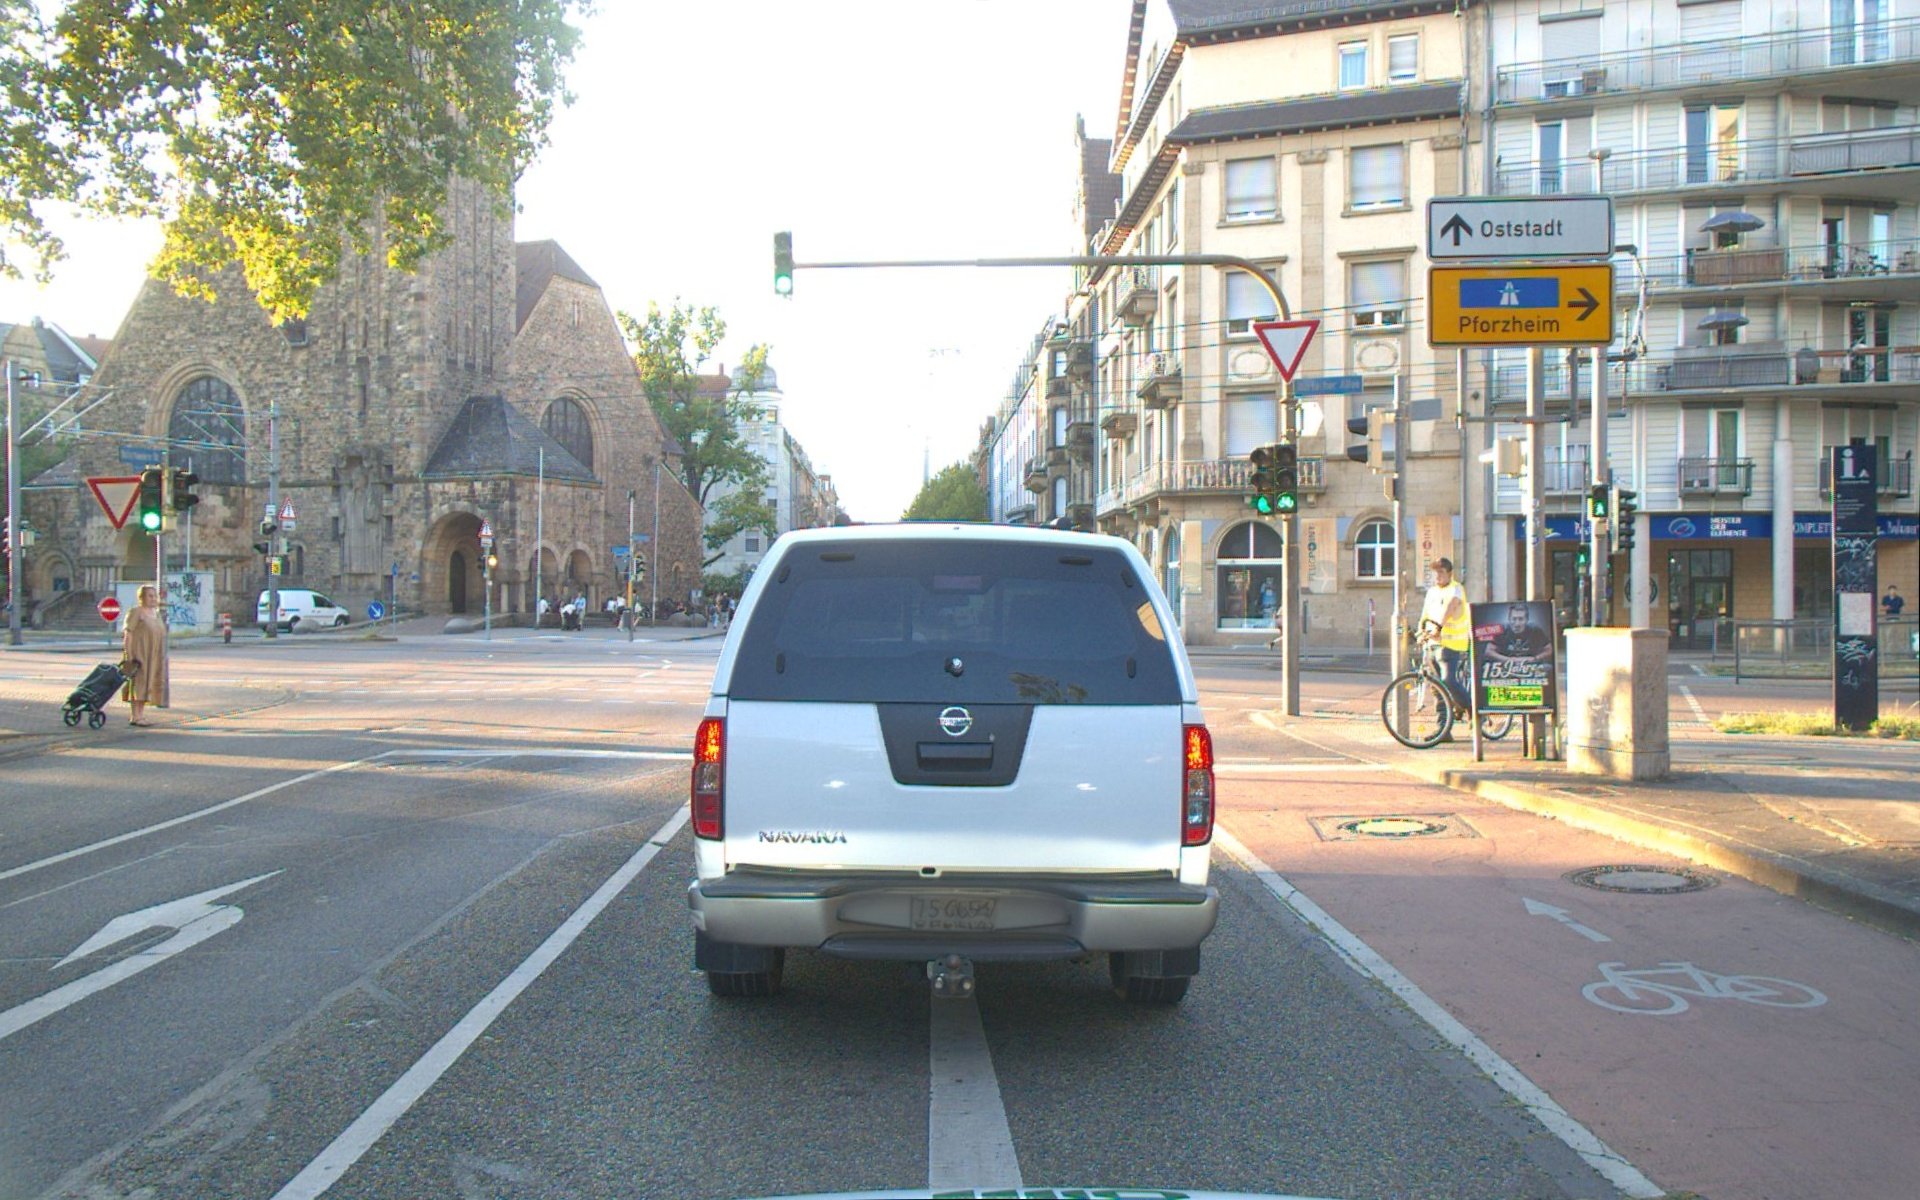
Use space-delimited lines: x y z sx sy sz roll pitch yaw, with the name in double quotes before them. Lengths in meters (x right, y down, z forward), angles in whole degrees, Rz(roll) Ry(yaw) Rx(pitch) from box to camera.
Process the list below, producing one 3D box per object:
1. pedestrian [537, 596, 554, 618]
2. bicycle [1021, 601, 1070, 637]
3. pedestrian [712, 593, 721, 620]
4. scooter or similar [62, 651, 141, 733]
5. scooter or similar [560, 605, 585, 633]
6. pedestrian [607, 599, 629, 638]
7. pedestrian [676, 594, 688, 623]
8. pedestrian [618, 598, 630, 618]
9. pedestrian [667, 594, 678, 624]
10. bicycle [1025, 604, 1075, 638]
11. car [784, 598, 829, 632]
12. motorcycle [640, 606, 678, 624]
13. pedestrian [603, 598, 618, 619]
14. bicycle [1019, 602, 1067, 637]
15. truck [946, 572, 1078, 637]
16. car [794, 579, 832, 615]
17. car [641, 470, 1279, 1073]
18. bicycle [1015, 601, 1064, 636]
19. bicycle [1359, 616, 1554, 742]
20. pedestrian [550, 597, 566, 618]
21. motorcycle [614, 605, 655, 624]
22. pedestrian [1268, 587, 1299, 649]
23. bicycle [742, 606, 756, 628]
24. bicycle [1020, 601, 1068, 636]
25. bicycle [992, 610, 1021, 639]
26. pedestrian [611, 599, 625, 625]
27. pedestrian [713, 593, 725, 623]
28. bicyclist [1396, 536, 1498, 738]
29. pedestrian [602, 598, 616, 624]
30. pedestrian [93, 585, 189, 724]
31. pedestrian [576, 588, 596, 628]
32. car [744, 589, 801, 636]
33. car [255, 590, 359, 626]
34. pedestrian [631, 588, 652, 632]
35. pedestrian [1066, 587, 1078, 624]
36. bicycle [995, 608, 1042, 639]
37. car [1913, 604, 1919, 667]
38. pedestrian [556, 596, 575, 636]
"pedestrian" -18.715 0.331 74.682 0.511 0.977 0.479 1 -1 18
"bicycle" 3.253 0.736 63.219 1.781 1.259 0.487 -3 -1 -3
"pedestrian" -15.647 0.447 106.426 0.549 1.725 0.643 1 -1 -9
"scooter or similar" -9.997 1.066 19.285 0.580 0.913 0.849 1 -1 -11
"scooter or similar" -16.757 0.808 71.528 0.620 1.122 1.080 -1 2 11
"pedestrian" -15.281 0.822 73.838 0.796 1.699 0.859 1 -1 -3
"pedestrian" -16.719 0.527 99.566 0.630 1.725 0.561 1 -1 -2
"pedestrian" -16.270 0.391 79.983 0.513 0.977 0.477 1 -1 -17
"pedestrian" -16.898 0.543 97.261 0.631 1.725 0.560 1 -1 -10
"bicycle" 3.389 0.773 62.281 1.781 1.170 0.636 -3 -1 -3
"car" -7.686 0.769 83.070 1.954 1.585 4.765 -2 -1 -3
"motorcycle" -17.425 0.870 95.738 2.119 1.005 0.594 1 -1 19
"pedestrian" -16.946 0.414 80.144 0.510 0.977 0.479 1 -1 16
"bicycle" 3.204 0.747 63.930 1.781 1.259 0.477 -3 -1 -3
"truck" 2.227 0.209 68.827 5.630 2.610 2.250 1 -1 -45
"car" -8.616 -0.166 97.327 1.953 2.049 4.948 0 -1 -2
"car" -0.022 0.556 7.147 1.953 1.841 3.999 1 -1 -1
"bicycle" 3.161 0.732 65.791 1.818 1.259 0.530 -3 -1 -3
"bicycle" 4.750 0.734 15.766 2.046 1.129 0.621 1 -1 -34
"pedestrian" -18.101 0.338 74.417 0.511 0.977 0.479 1 -1 18
"motorcycle" -18.393 0.831 93.434 2.201 1.005 0.707 1 -1 -7
"pedestrian" 9.593 0.524 49.075 0.771 1.810 0.543 0 -1 24
"bicycle" -10.807 0.873 84.856 0.587 1.062 1.944 1 -1 -4
"bicycle" 3.291 0.721 64.657 1.781 1.259 0.412 -3 -1 -3
"bicycle" 1.783 0.935 63.601 1.055 1.042 0.317 -3 -1 -3
"pedestrian" -16.874 0.615 81.585 0.468 1.267 0.523 1 -1 16
"pedestrian" -15.389 0.528 105.590 0.632 1.888 0.559 1 -1 -15
"bicyclist" 4.621 0.349 15.685 0.690 1.856 0.621 1 -1 -33
"pedestrian" -17.249 0.565 81.228 0.468 1.267 0.523 1 -1 16
"pedestrian" -9.962 0.657 20.150 0.786 1.656 0.773 1 -1 -6
"pedestrian" -16.374 0.345 72.423 0.620 1.728 0.603 1 -1 10
"car" -7.851 0.502 69.599 1.953 1.815 4.796 -2 1 -2
"car" -29.206 0.371 74.106 1.679 1.543 4.454 1 -1 23
"pedestrian" -14.265 0.433 74.000 0.796 1.934 0.666 1 -1 -3
"pedestrian" 5.138 0.253 75.982 0.517 1.683 0.547 1 -1 -1
"bicycle" 2.212 0.888 62.725 1.692 1.102 0.317 -3 -1 -3
"car" 24.745 0.867 38.829 3.907 1.512 1.849 1 -1 24
"pedestrian" -17.340 0.718 72.636 0.620 1.728 0.603 1 -1 7
